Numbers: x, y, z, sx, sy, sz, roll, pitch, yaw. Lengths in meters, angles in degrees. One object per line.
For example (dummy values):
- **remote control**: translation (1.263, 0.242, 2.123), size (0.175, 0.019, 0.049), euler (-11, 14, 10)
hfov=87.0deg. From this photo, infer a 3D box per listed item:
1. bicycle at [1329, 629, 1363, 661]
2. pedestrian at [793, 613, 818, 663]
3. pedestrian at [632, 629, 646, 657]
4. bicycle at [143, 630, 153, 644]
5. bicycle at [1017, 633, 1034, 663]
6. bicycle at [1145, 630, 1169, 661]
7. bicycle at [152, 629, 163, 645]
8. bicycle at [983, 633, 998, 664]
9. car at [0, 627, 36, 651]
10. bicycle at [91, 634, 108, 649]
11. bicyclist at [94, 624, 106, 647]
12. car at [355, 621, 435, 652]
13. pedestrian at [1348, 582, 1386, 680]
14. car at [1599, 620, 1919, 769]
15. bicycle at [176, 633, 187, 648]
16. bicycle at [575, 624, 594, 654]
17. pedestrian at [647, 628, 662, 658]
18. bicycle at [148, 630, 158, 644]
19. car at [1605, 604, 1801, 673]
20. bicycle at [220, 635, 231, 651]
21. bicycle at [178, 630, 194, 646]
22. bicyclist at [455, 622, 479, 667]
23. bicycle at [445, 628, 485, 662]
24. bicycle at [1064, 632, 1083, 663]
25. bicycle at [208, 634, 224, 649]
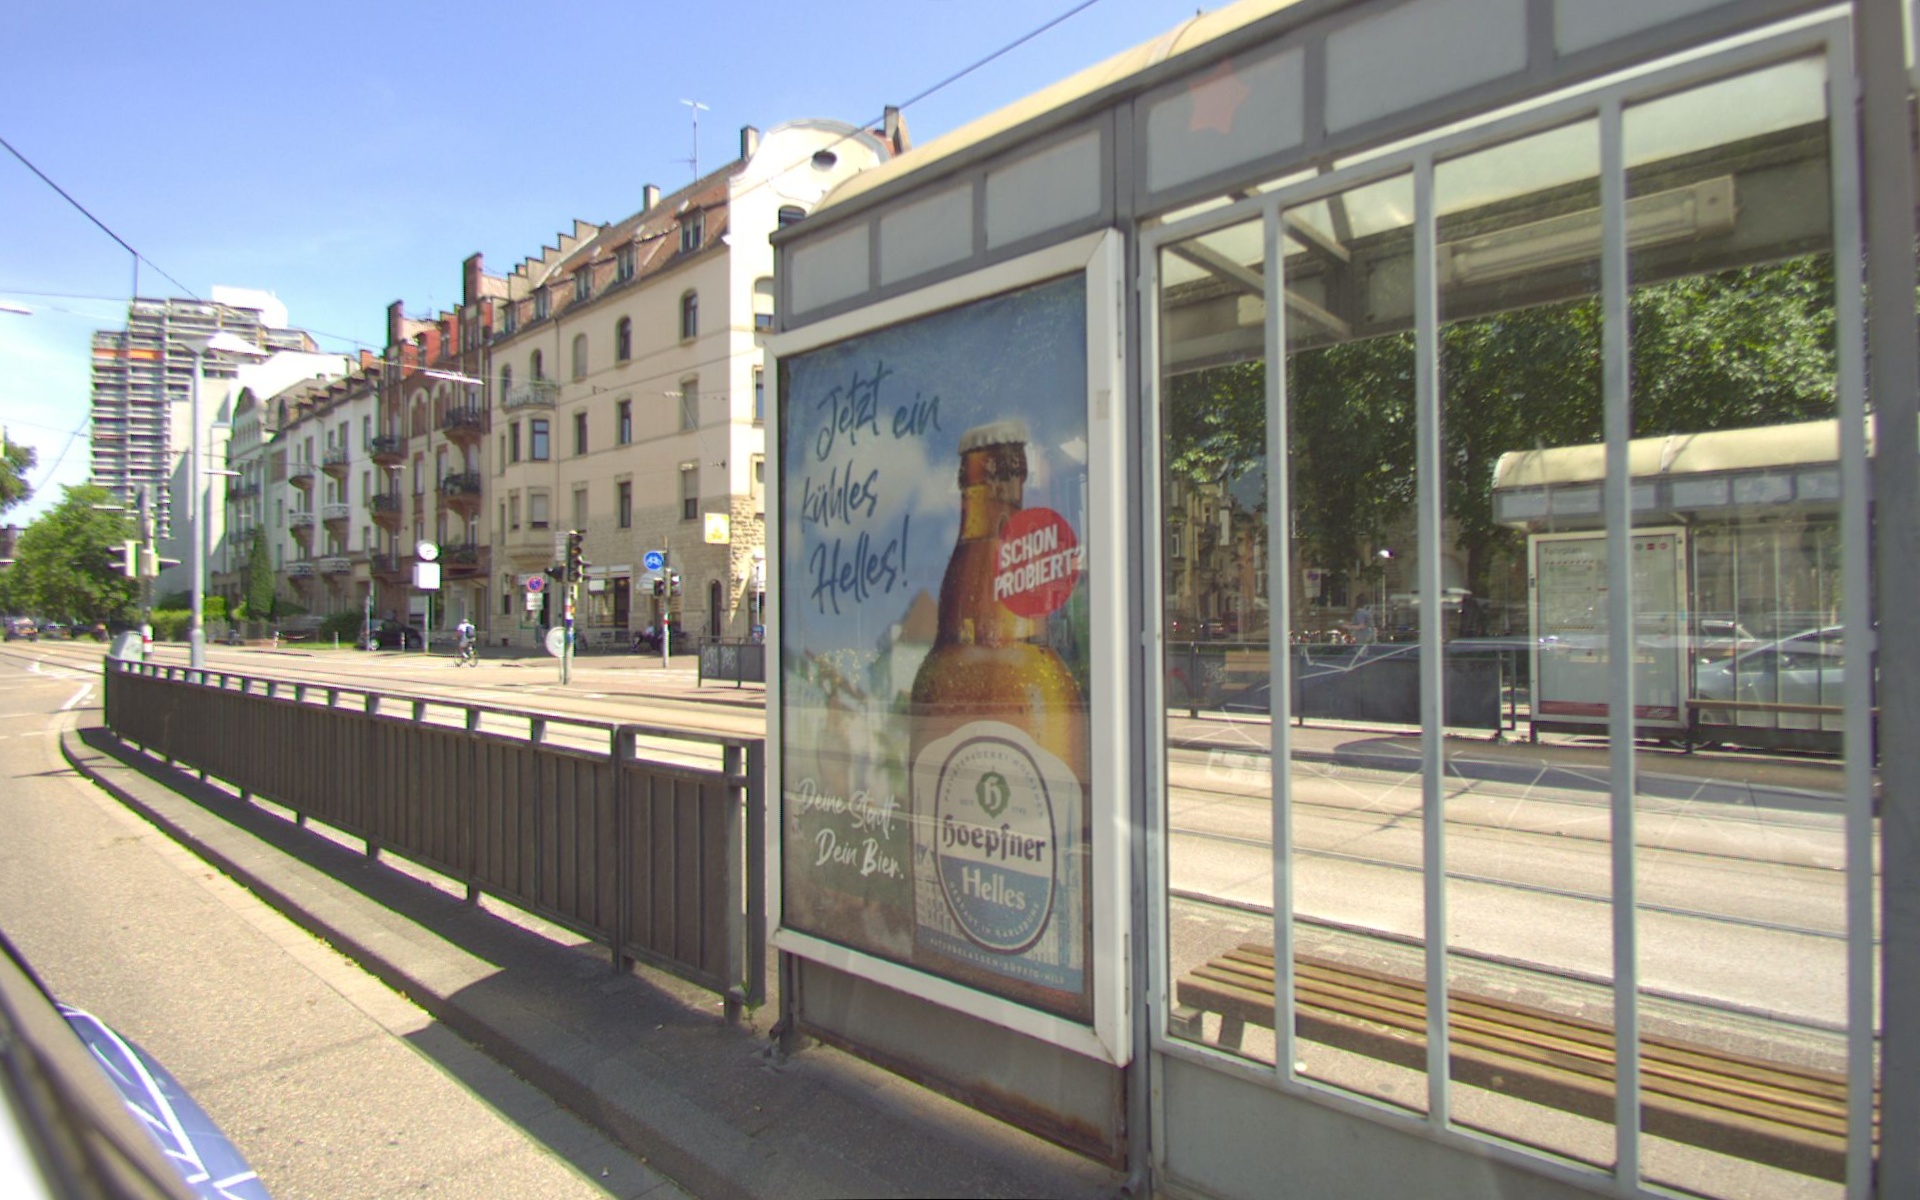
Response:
- **bicycle**: translation (12.660, 1.451, 33.217), size (0.286, 0.981, 1.675), euler (0, 0, -6)
- **pedestrian**: translation (-5.512, 1.344, 36.116), size (0.727, 1.744, 0.538), euler (-1, -1, 40)
- **pedestrian**: translation (-12.648, 1.683, 39.839), size (0.405, 1.097, 0.351), euler (-1, -1, 39)
- **bicycle**: translation (-64.715, 2.912, 80.647), size (1.727, 1.076, 0.335), euler (-1, -1, 42)
- **bicycle**: translation (2.285, 1.649, 35.265), size (0.286, 0.981, 1.675), euler (0, 0, -6)
- **bicycle**: translation (6.733, 1.539, 34.632), size (0.286, 0.981, 1.675), euler (0, 0, -6)
- **bicycle**: translation (-61.673, 2.842, 77.738), size (1.932, 1.173, 0.335), euler (-1, -1, 42)
- **bicycle**: translation (1.027, 1.653, 34.598), size (0.286, 0.981, 1.675), euler (0, 0, -6)
- **car**: translation (-81.604, 3.364, 87.318), size (4.815, 1.952, 1.826), euler (-1, -3, 37)
- **bicycle**: translation (-63.668, 3.029, 74.865), size (2.186, 1.082, 0.637), euler (-2, -2, 42)
- **bicyclist**: translation (-63.599, 2.634, 74.834), size (0.579, 1.676, 0.603), euler (-2, -2, 42)
- **car**: translation (-29.209, 1.880, 52.365), size (3.315, 1.483, 1.531), euler (-1, -1, -44)
- **pedestrian**: translation (7.961, 0.597, 19.798), size (0.504, 1.893, 0.494), euler (0, -1, -44)
- **car**: translation (8.906, 0.901, 10.462), size (3.717, 1.349, 1.525), euler (-1, 0, 41)
- **bicycle**: translation (-55.751, 2.911, 72.461), size (1.899, 1.054, 0.286), euler (-1, -1, 42)
- **bicycle**: translation (-16.194, 1.663, 43.621), size (0.447, 1.234, 2.086), euler (0, -1, -28)
- **pedestrian**: translation (-11.827, 1.661, 39.229), size (0.405, 1.157, 0.401), euler (-1, -1, 39)
- **bicycle**: translation (-63.258, 2.907, 79.305), size (1.727, 1.076, 0.335), euler (-1, -1, 42)
- **car**: translation (17.957, 0.906, 24.660), size (3.567, 1.587, 1.569), euler (-1, -1, 25)
- **bicycle**: translation (-45.398, 2.654, 62.560), size (1.614, 0.924, 0.250), euler (-2, -1, 42)
- **bicycle**: translation (-54.021, 2.669, 70.638), size (2.046, 1.105, 0.487), euler (-2, -1, 42)
- **bicyclist**: translation (-17.788, 1.592, 36.488), size (0.585, 1.586, 0.602), euler (-1, -1, 42)
- **bicycle**: translation (-17.910, 1.613, 36.604), size (1.977, 1.166, 0.621), euler (-2, -1, 42)
- **bicycle**: translation (3.849, 1.605, 34.382), size (0.286, 0.981, 1.675), euler (0, 0, -6)
- **bicycle**: translation (-48.257, 2.665, 65.613), size (1.954, 0.955, 0.457), euler (-2, -1, 42)
